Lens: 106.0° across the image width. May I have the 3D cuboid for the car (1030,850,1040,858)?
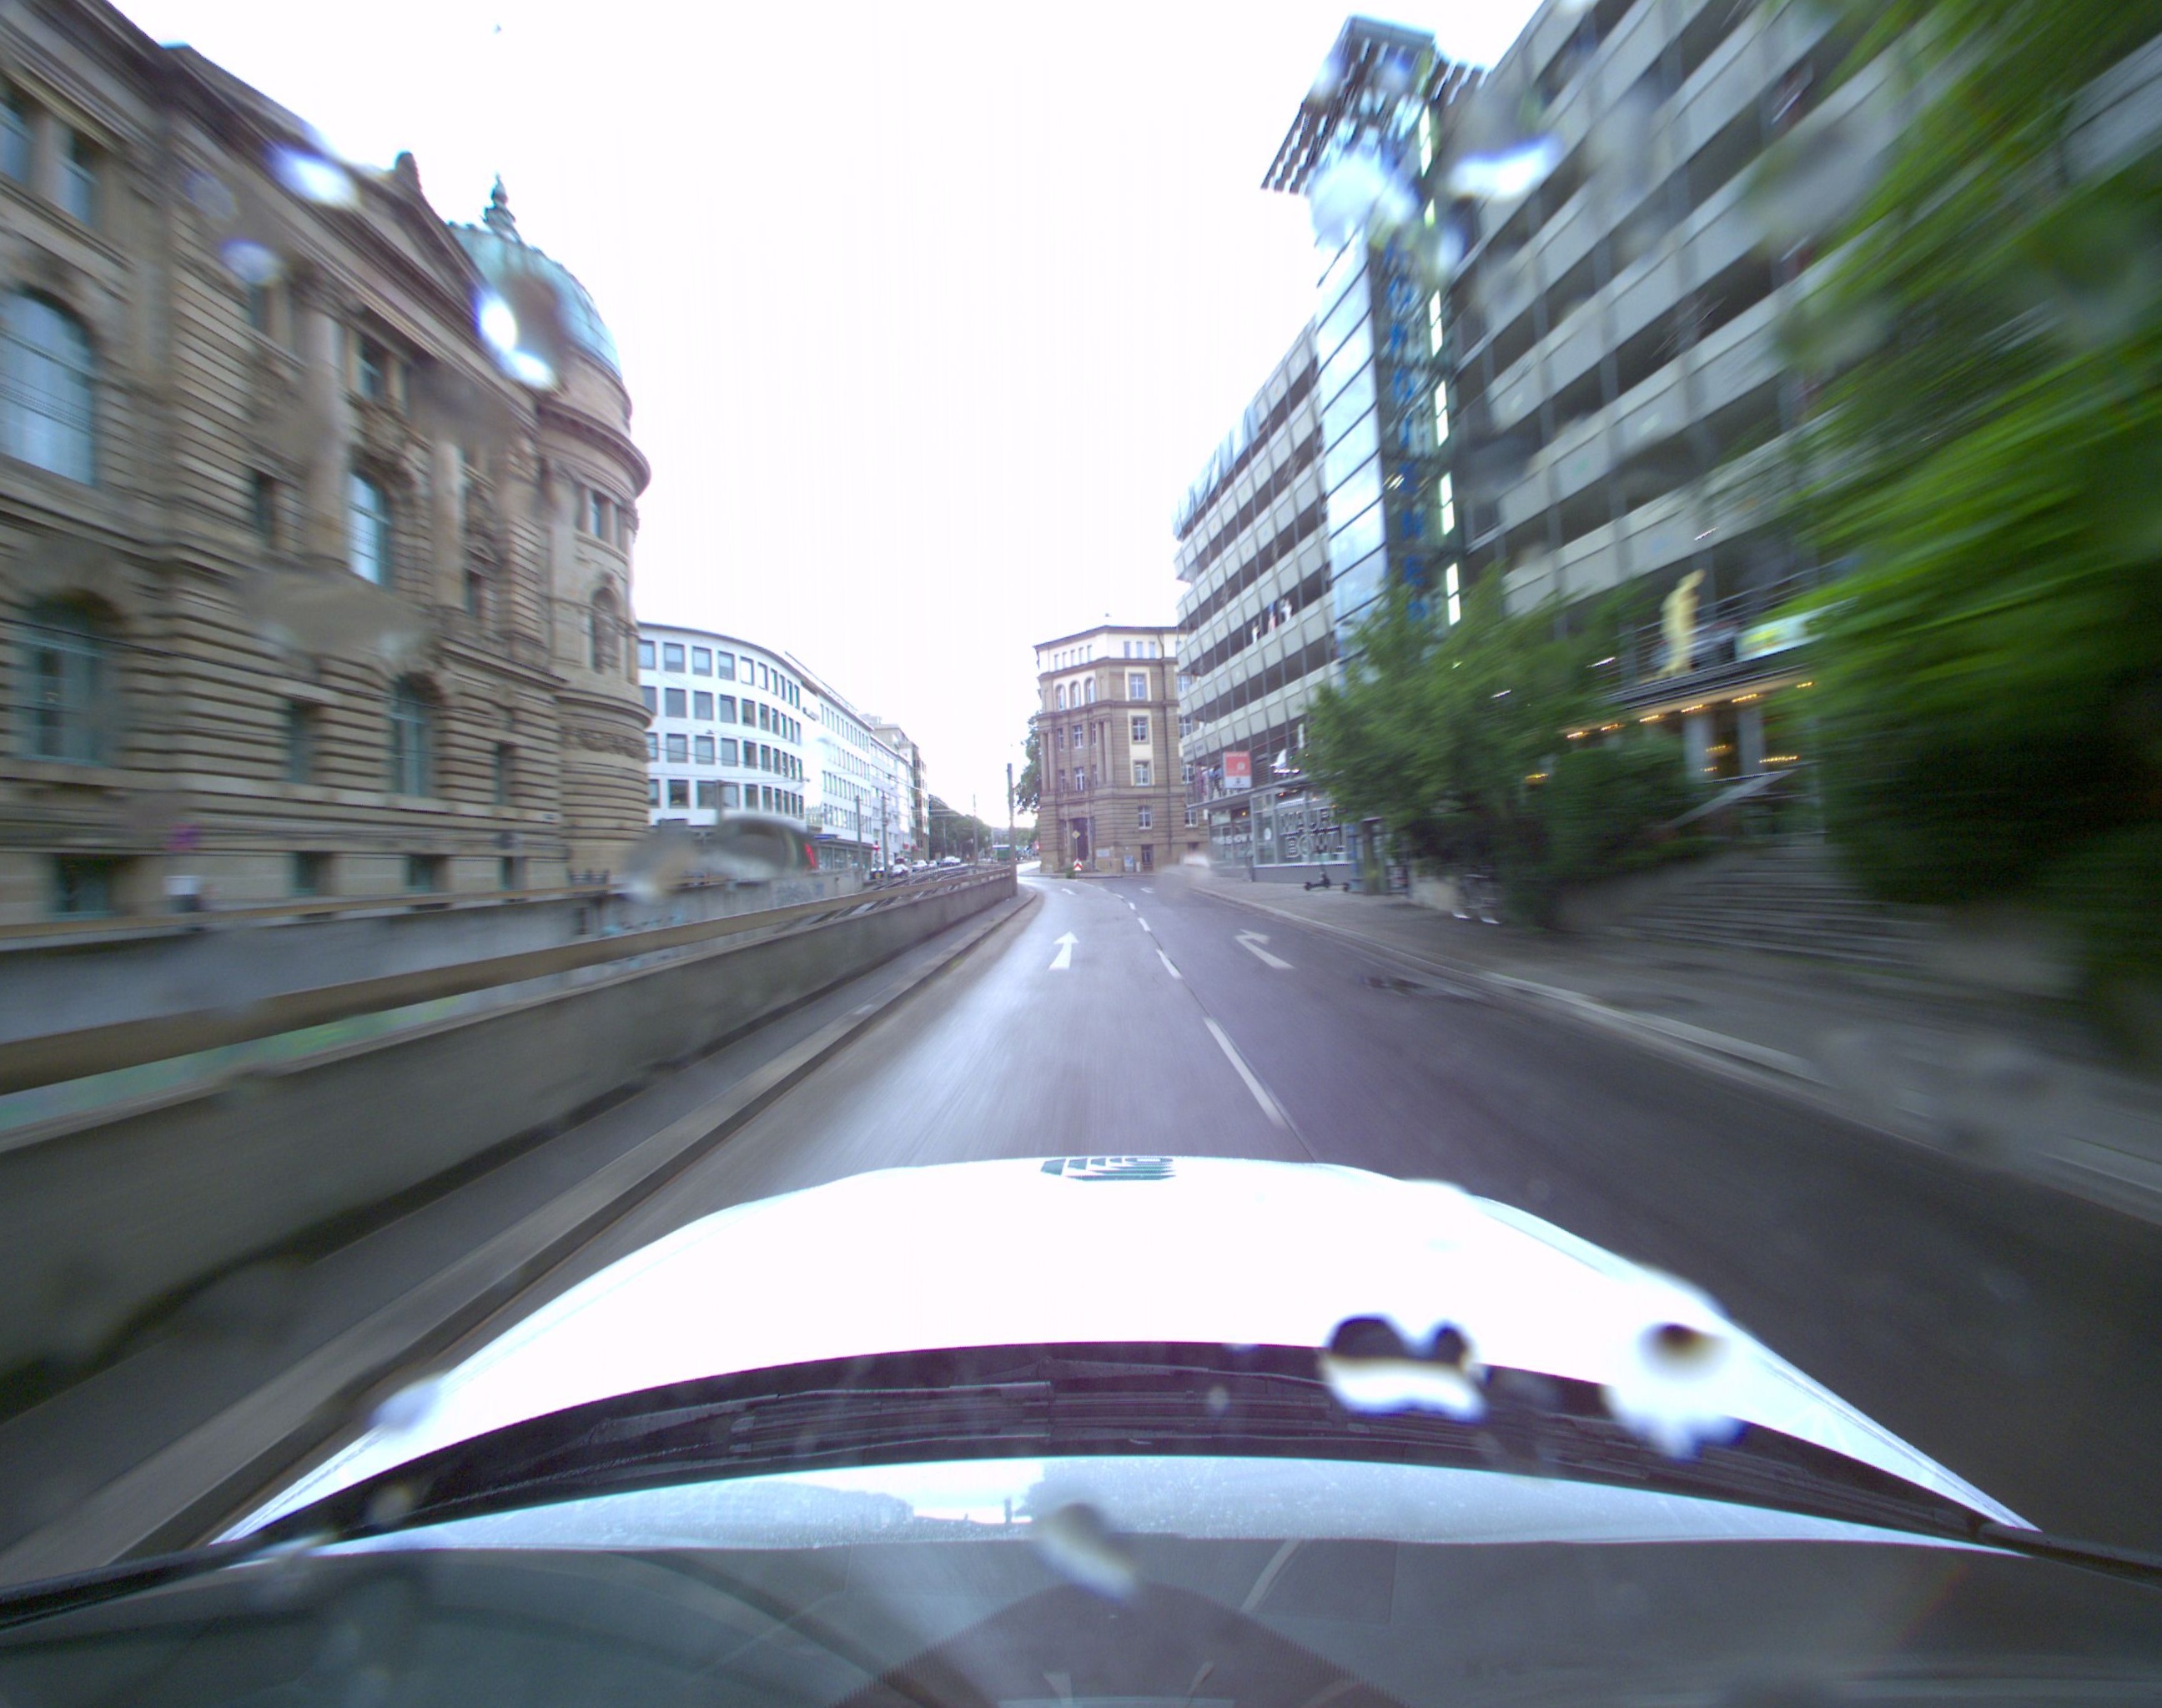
[{"bbox_3d":[-9.718,0.010,171.109,1.989,1.662,3.995,-2,0,-3],"label":"car"}]

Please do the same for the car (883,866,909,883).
[{"bbox_3d":[-18.571,2.058,81.986,1.989,1.527,3.658,-2,0,-4],"label":"car"}]

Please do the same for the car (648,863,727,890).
[{"bbox_3d":[-28.157,1.615,58.363,4.805,1.522,1.656,-4,0,-39],"label":"car"}]

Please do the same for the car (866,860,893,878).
[{"bbox_3d":[-22.128,1.611,89.576,1.989,1.883,4.920,-2,0,-4],"label":"car"}]

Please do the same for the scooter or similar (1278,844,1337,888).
[{"bbox_3d":[7.203,0.365,25.914,1.643,1.267,0.737,-4,0,-24],"label":"scooter or similar"}]

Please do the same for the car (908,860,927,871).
[{"bbox_3d":[-22.474,1.563,112.317,1.989,1.456,4.305,-2,0,-4],"label":"car"}]

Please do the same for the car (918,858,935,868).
[{"bbox_3d":[-23.610,1.415,124.629,1.989,1.456,4.305,-2,0,-4],"label":"car"}]

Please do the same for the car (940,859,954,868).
[{"bbox_3d":[-23.209,1.653,141.283,1.989,1.456,4.305,-2,0,-4],"label":"car"}]

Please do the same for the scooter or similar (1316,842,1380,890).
[{"bbox_3d":[7.779,0.329,23.734,1.643,1.267,0.737,-4,0,-24],"label":"scooter or similar"}]

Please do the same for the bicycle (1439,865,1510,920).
[{"bbox_3d":[6.978,0.662,14.535,0.468,0.885,1.690,-3,0,2],"label":"bicycle"}]

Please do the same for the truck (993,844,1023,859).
[{"bbox_3d":[-17.215,-0.506,192.171,7.826,3.387,2.013,0,0,39],"label":"truck"}]

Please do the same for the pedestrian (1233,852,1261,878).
[{"bbox_3d":[7.373,0.468,36.215,0.753,1.123,1.241,-1,0,-13],"label":"pedestrian"}]
